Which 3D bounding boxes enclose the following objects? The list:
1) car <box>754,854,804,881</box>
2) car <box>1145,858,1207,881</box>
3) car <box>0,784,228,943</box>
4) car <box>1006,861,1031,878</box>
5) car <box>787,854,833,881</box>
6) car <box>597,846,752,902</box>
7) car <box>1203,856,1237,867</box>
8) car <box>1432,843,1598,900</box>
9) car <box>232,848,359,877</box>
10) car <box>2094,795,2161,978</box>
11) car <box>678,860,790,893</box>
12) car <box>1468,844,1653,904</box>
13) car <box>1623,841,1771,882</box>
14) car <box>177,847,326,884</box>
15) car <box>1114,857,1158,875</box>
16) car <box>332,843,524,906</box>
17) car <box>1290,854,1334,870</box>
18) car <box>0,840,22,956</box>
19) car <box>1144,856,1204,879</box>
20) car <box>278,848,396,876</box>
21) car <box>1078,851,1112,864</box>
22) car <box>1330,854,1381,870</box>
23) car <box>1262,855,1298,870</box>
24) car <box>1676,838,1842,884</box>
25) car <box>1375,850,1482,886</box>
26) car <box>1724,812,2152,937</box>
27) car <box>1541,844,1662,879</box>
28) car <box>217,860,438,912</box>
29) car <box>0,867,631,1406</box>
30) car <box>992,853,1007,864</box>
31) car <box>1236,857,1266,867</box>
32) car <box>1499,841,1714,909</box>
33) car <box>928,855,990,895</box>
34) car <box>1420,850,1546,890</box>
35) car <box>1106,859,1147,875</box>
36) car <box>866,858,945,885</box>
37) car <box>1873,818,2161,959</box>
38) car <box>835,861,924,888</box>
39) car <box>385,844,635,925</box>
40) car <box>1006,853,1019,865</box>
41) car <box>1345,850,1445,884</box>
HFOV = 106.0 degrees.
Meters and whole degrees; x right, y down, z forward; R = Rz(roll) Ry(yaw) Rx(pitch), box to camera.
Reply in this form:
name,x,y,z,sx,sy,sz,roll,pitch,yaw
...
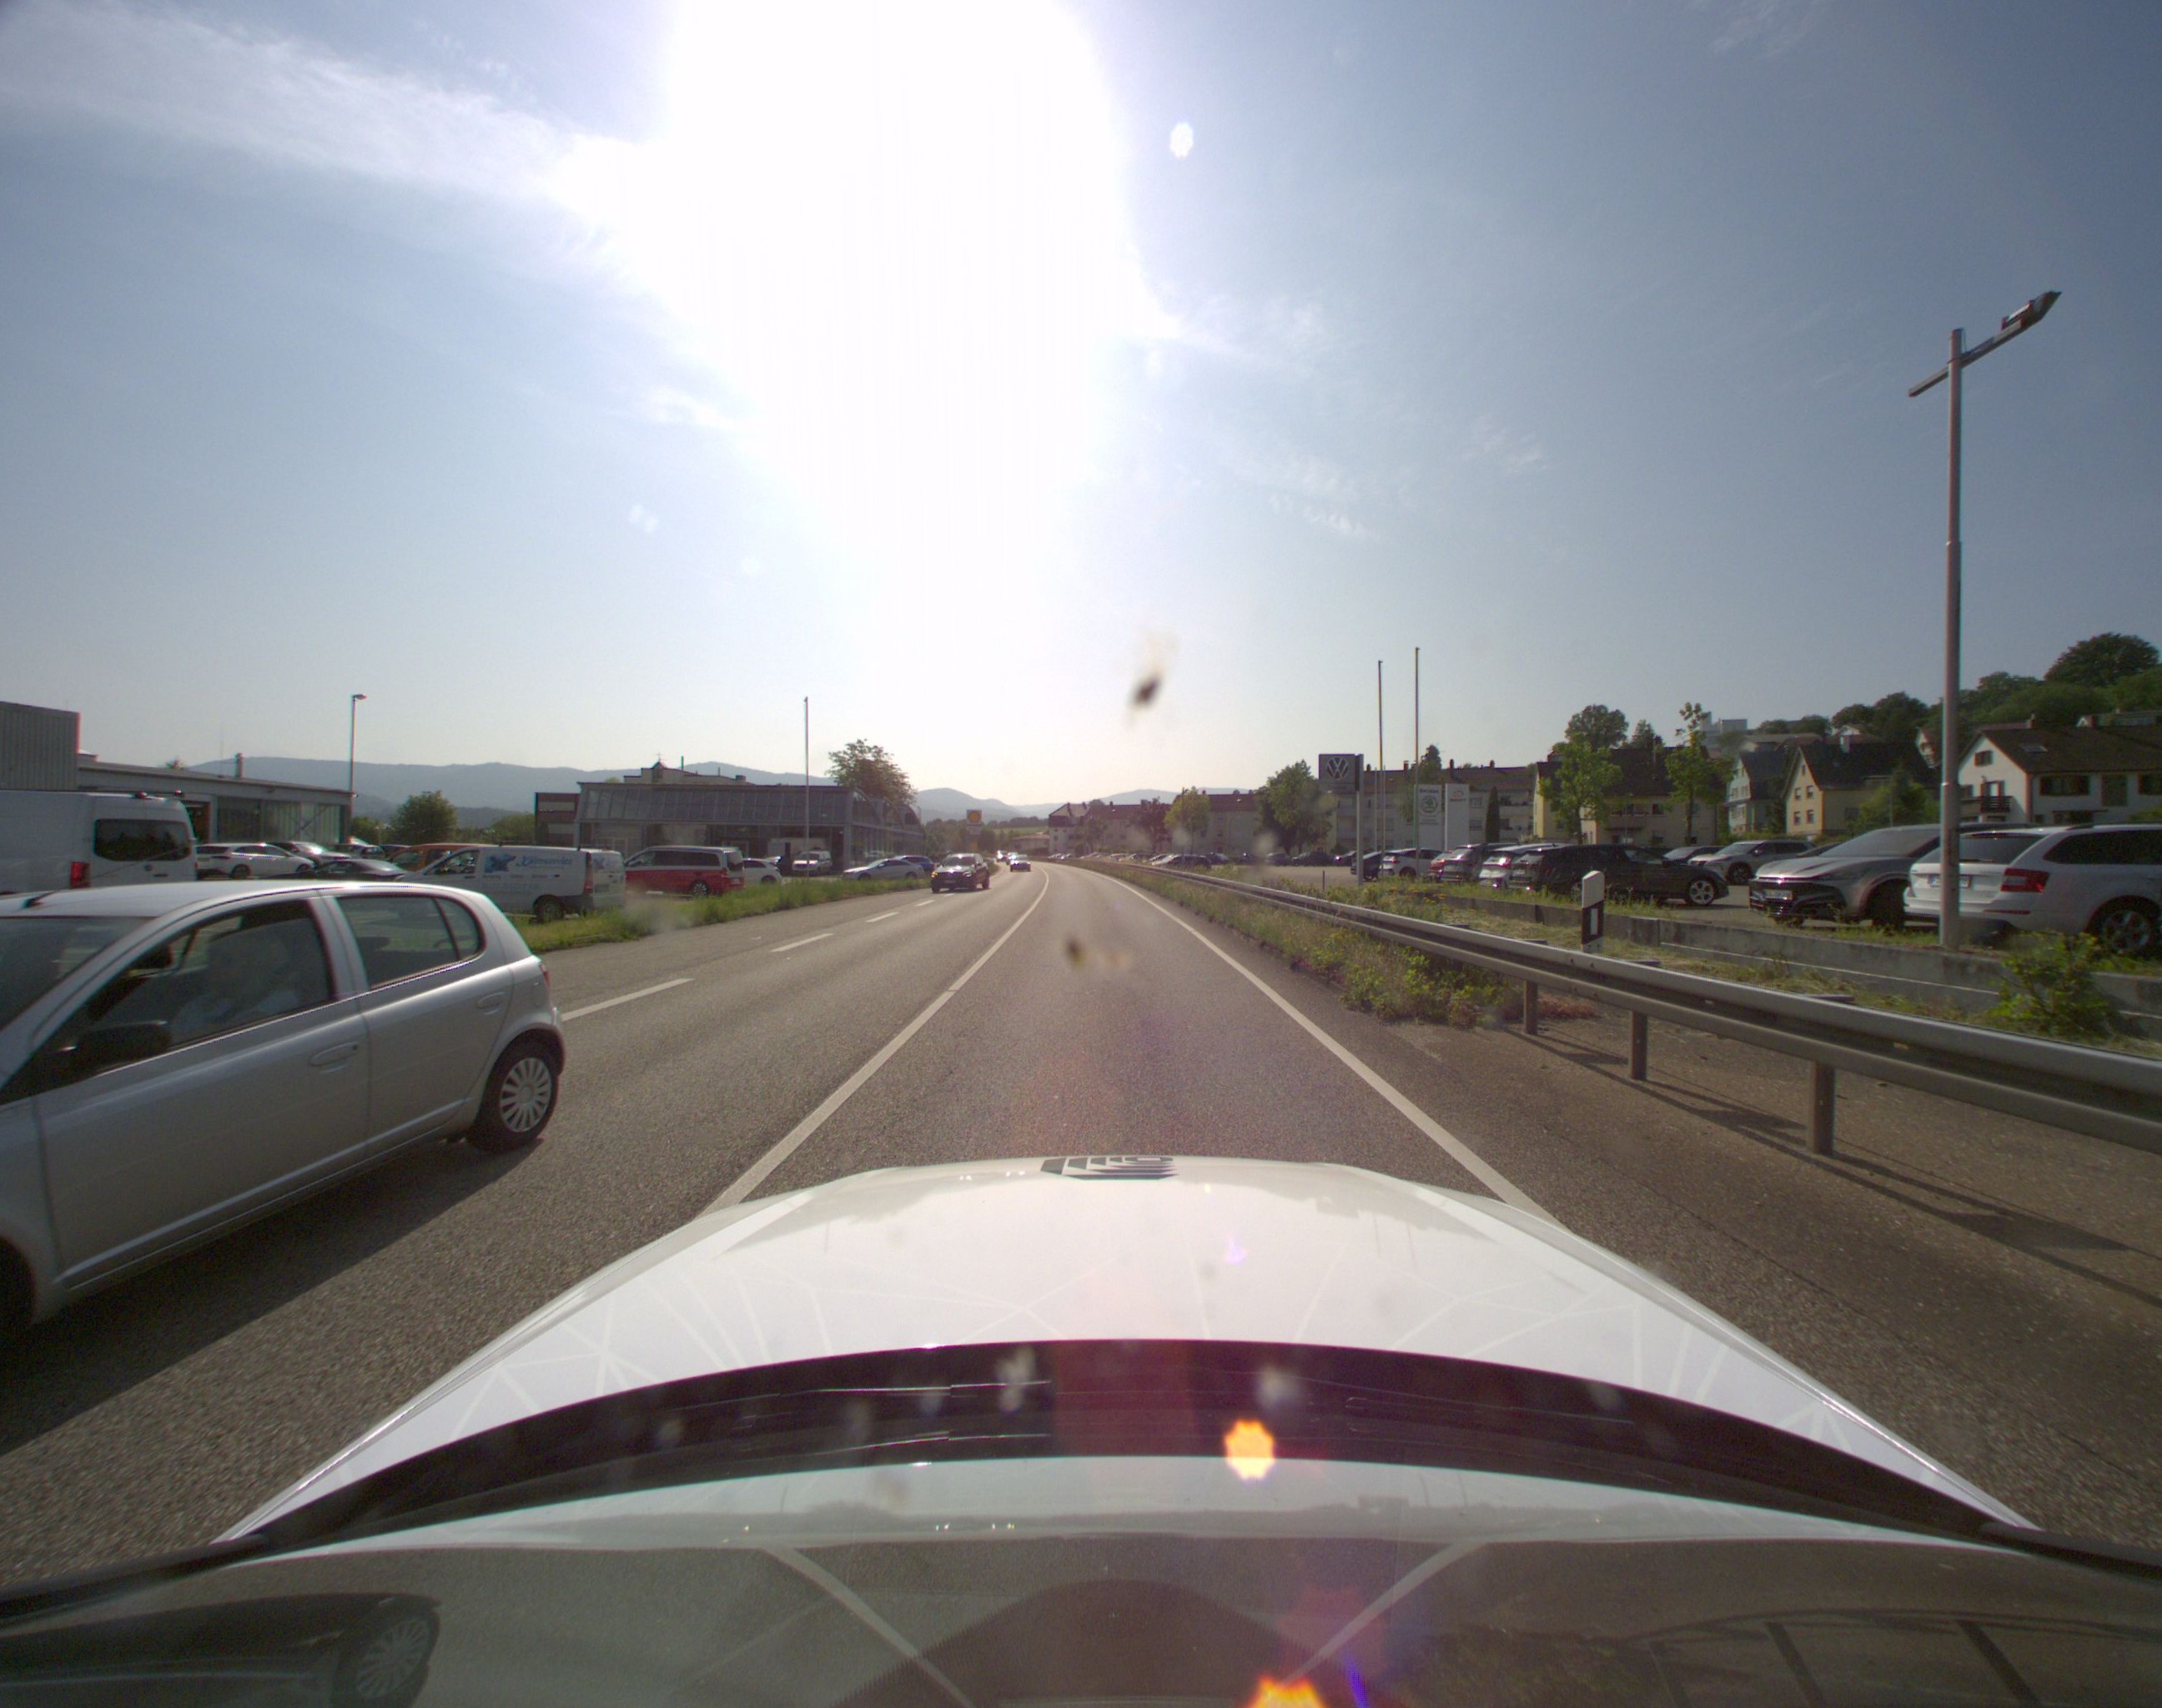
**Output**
name,x,y,z,sx,sy,sz,roll,pitch,yaw
car,-20.971,0.917,56.775,1.800,1.713,4.936,0,1,-2
car,6.770,1.088,58.197,4.151,1.491,1.729,-2,-1,-4
car,-20.236,0.125,15.344,5.703,2.745,2.285,1,-1,-1
car,-5.595,1.363,72.336,1.752,1.474,4.271,-2,0,-11
car,-18.760,0.887,56.584,1.800,1.713,4.406,0,1,-1
car,-15.566,0.748,31.417,4.780,1.981,2.227,2,0,-3
car,17.897,0.982,104.842,1.920,1.405,4.482,0,-1,-29
car,13.007,0.516,24.543,4.066,1.610,1.791,-1,-1,-3
car,-42.643,0.440,44.292,4.796,1.566,2.213,0,1,2
car,11.634,0.241,6.731,3.857,1.663,1.844,-1,-1,8
car,-15.563,1.005,36.689,4.253,1.403,1.875,1,-2,-42
car,12.900,0.531,22.100,3.973,1.494,1.791,-1,-1,0
car,25.792,0.309,34.194,4.719,1.565,1.932,-2,-1,1
car,-35.744,0.496,35.286,1.800,1.492,4.564,0,-1,-2
car,5.264,1.164,78.154,3.980,1.640,1.884,-1,-1,-5
car,-20.732,0.637,26.015,4.369,1.808,2.000,2,0,-3
car,24.455,0.859,86.178,4.509,1.600,1.824,0,-1,-29
car,-19.383,0.627,12.088,4.433,1.840,1.985,2,-1,-3
car,6.937,1.005,61.070,4.151,1.556,1.769,-2,-1,-4
car,-42.844,0.433,46.984,4.796,1.566,2.213,0,1,2
car,1.796,0.502,107.548,4.312,1.640,2.136,-1,-1,-5
car,27.391,0.755,81.231,4.637,1.521,1.851,0,-1,-21
car,21.781,0.918,89.121,3.778,1.521,1.641,0,-1,-31
car,25.887,0.279,31.209,4.719,1.565,1.932,-2,-1,1
car,15.680,0.634,36.905,4.081,1.516,1.824,-1,-1,-1
car,12.526,0.291,12.135,4.433,1.600,1.854,-1,-1,-1
car,25.608,0.387,40.205,4.719,1.565,1.932,-2,-1,1
car,-21.075,0.869,22.926,4.369,1.319,1.798,1,0,-3
car,-3.824,0.841,3.369,1.670,1.473,3.709,-2,0,3
car,-13.851,0.783,138.426,1.917,1.885,4.888,-2,0,-13
car,20.886,0.979,99.983,1.598,1.186,3.628,0,-1,-29
car,12.368,0.501,19.358,3.971,1.494,1.731,-1,-1,2
car,-5.399,0.882,36.511,1.804,1.630,4.545,-2,0,3
car,15.467,0.599,31.442,3.975,1.446,1.824,-1,-1,-1
car,4.654,1.312,83.986,3.986,1.580,1.773,-1,-1,-9
car,-10.555,1.048,49.042,4.255,1.507,1.961,-1,0,-42
car,12.170,0.353,9.451,4.013,1.486,1.726,-1,-1,7
car,-11.062,1.078,44.830,4.418,1.367,1.831,-1,0,-42
car,-14.211,0.739,20.519,4.659,1.858,2.142,1,0,-3
car,-9.293,0.694,110.356,1.789,1.630,4.219,-2,0,-5
car,15.245,0.636,39.631,4.149,1.516,1.821,-1,-1,-5
